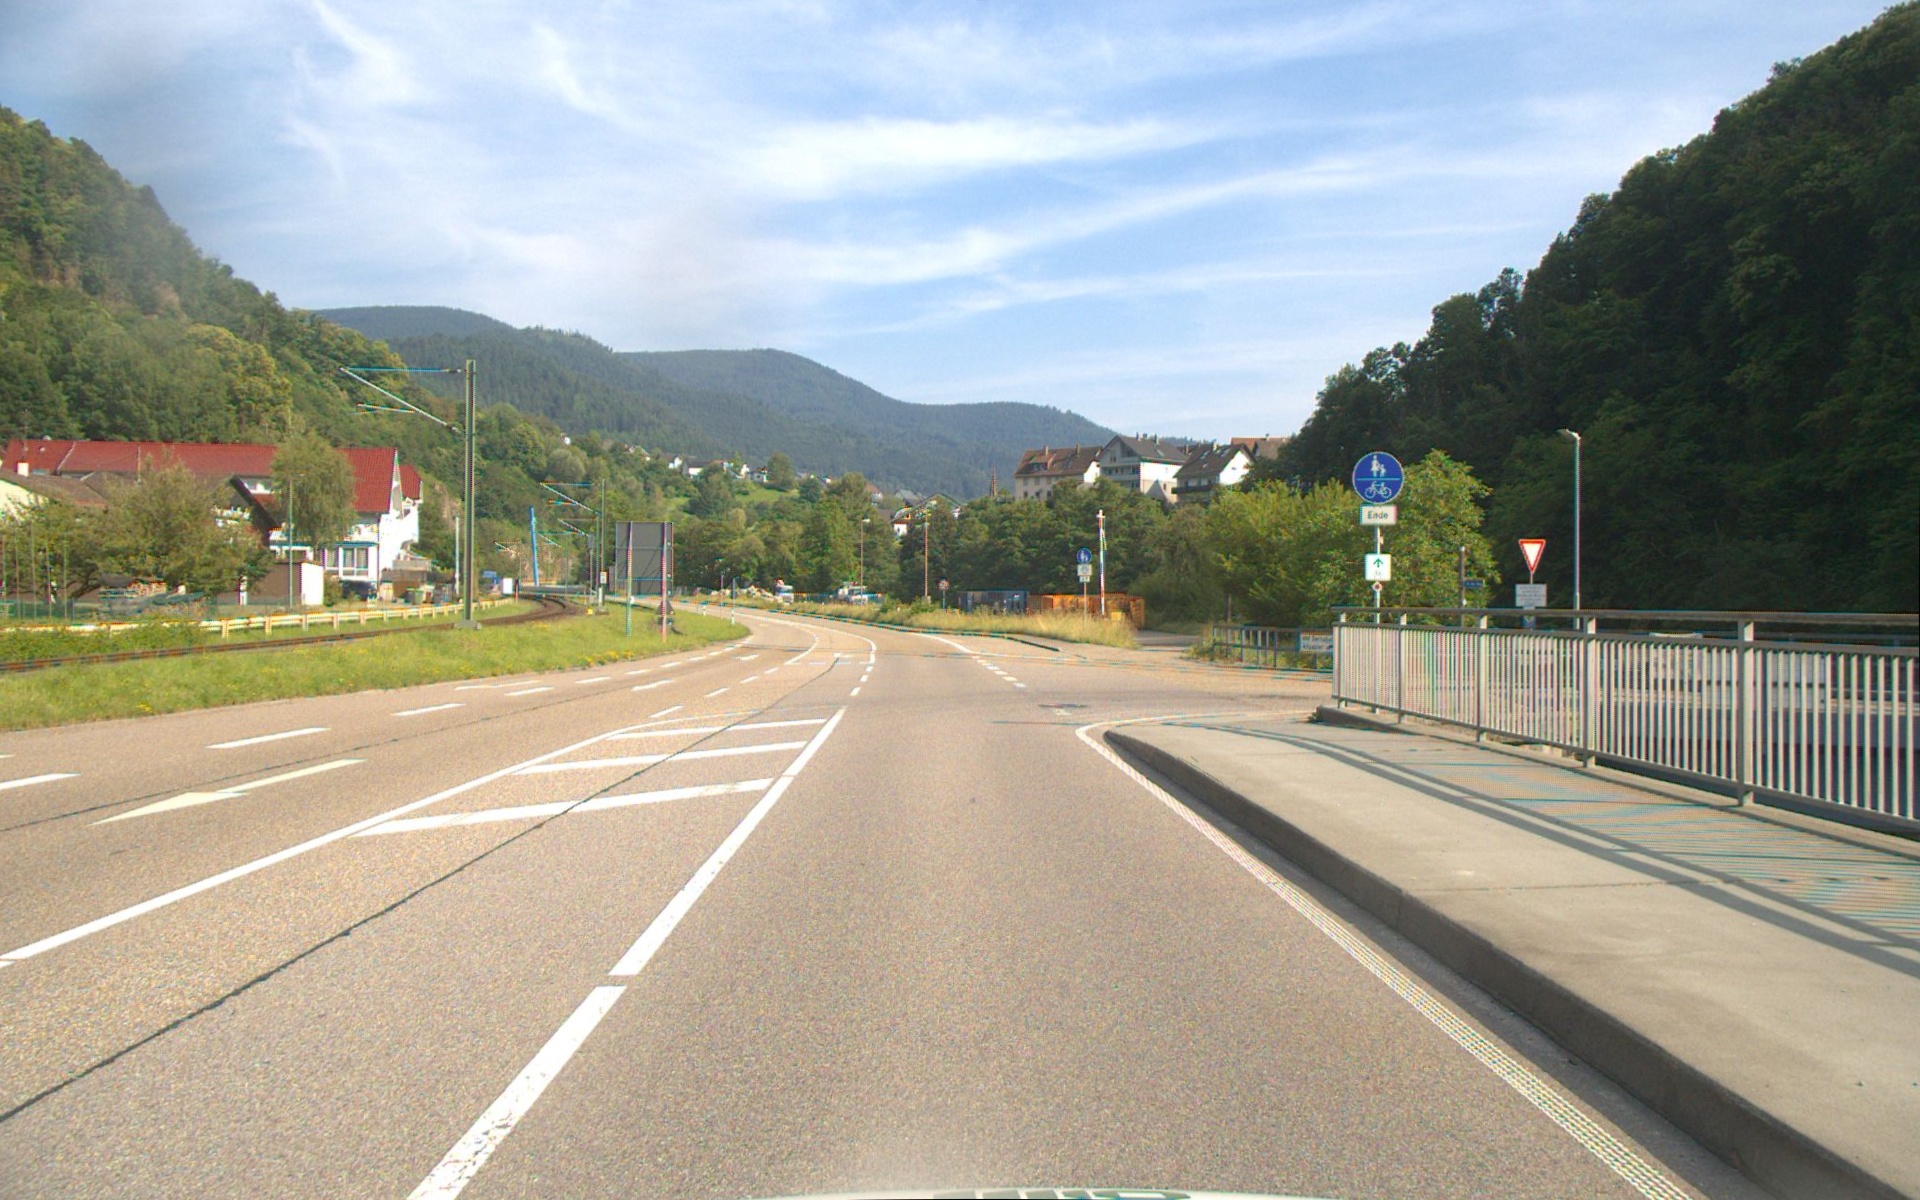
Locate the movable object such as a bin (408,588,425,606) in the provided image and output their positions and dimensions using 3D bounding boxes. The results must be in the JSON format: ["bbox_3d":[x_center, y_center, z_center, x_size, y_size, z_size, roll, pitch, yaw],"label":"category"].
[{"bbox_3d":[-37.185,-0.186,113.195,1.122,1.212,1.087,1,0,-19],"label":"movable object such as a bin"}]

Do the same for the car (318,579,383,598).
[{"bbox_3d":[-43.011,-0.787,116.798,4.022,1.293,1.732,0,0,-12],"label":"car"}]

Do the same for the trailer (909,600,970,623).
[{"bbox_3d":[-1.608,0.827,123.526,2.742,1.500,9.858,2,0,-12],"label":"trailer"}]

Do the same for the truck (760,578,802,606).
[{"bbox_3d":[-25.533,-1.098,235.697,3.066,3.848,8.571,1,0,-26],"label":"truck"}]

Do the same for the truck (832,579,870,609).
[{"bbox_3d":[-14.597,-0.826,220.113,3.055,3.848,8.601,1,0,-18],"label":"truck"}]
